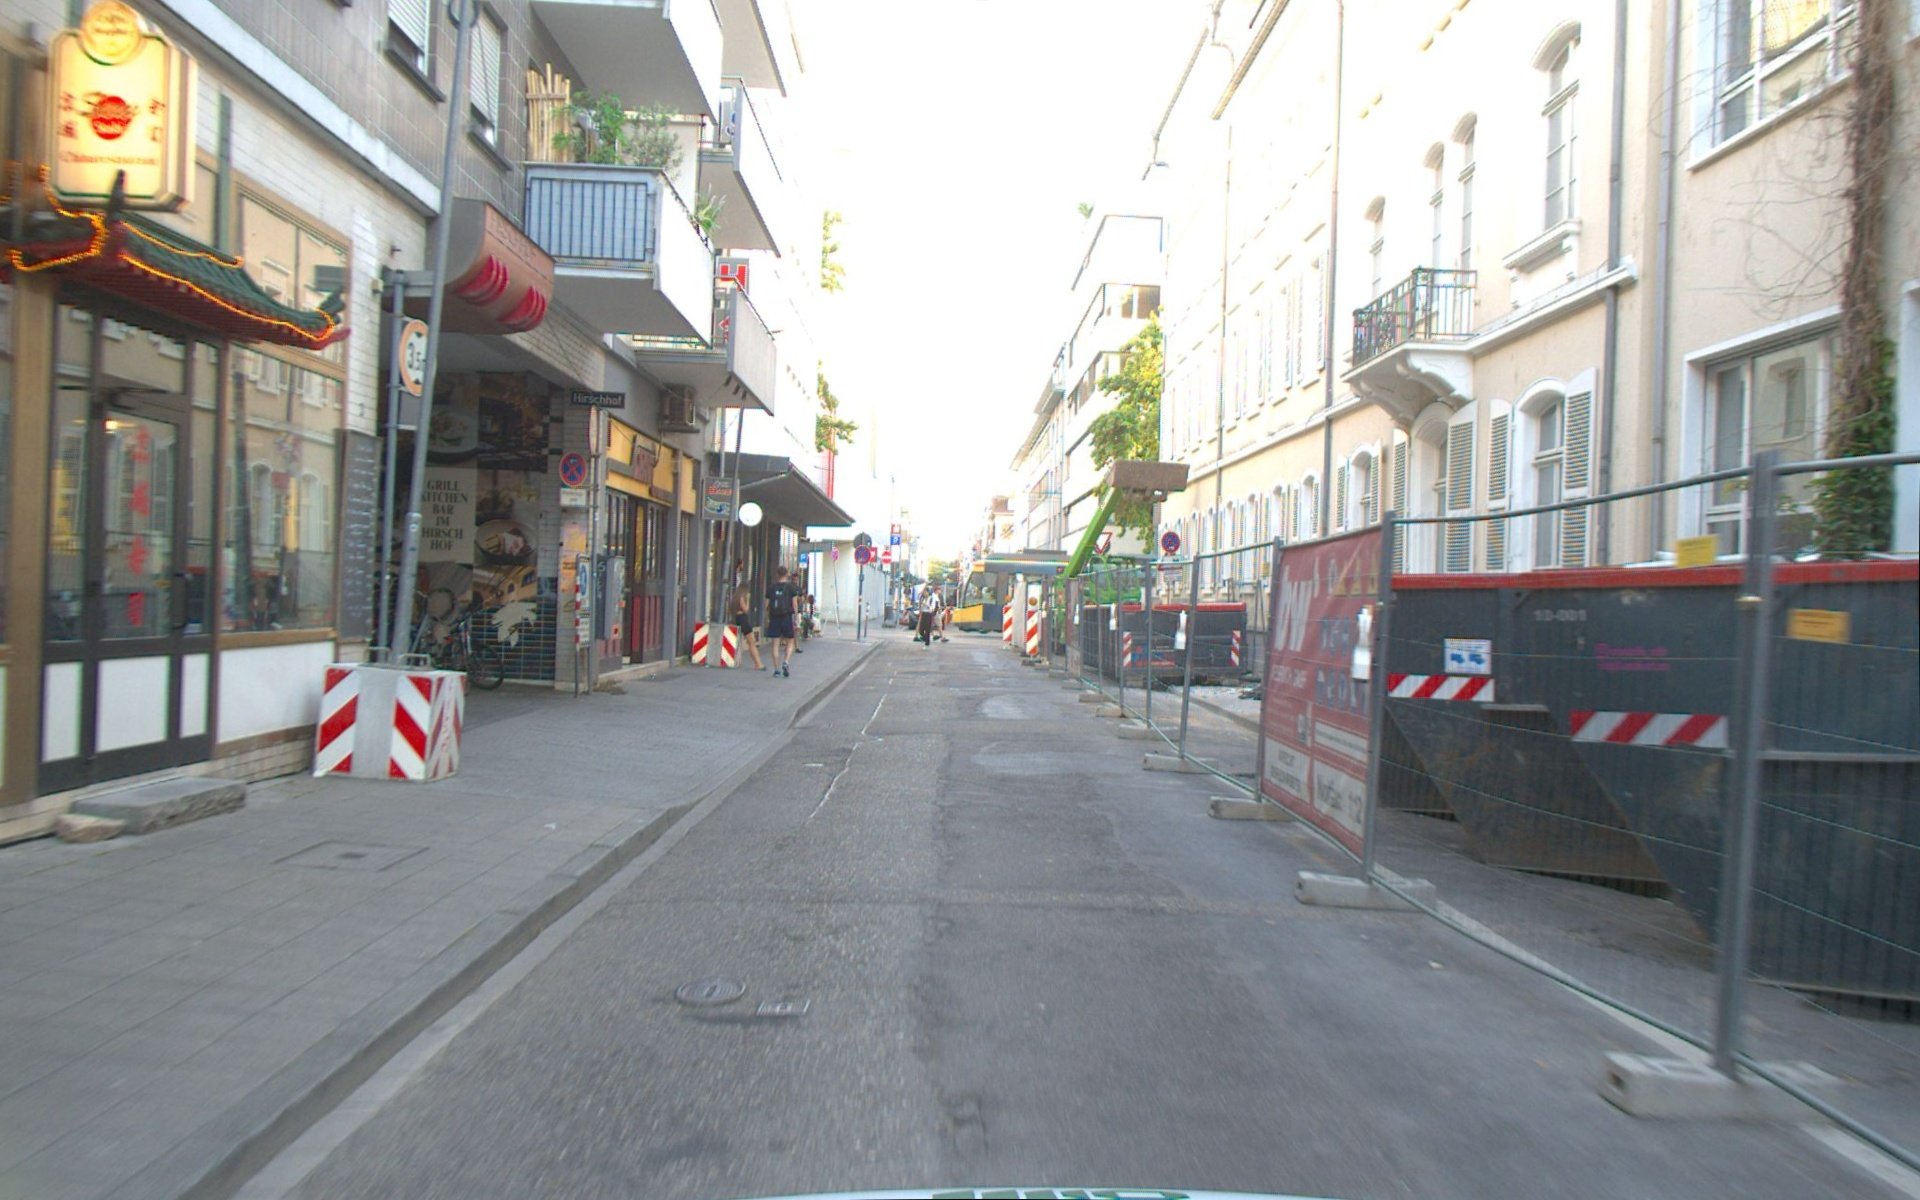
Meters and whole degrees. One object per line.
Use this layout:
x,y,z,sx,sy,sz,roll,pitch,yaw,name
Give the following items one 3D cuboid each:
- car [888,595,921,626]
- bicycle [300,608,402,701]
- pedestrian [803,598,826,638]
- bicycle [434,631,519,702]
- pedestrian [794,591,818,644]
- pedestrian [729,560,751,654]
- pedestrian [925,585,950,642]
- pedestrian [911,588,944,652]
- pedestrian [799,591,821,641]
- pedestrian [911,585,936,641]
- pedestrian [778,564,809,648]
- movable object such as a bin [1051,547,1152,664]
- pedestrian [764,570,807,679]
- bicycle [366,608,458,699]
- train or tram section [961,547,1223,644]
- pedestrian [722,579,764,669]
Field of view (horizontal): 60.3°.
-2.664,0.474,79.886,1.444,1.422,3.331,2,0,-1,car
-7.234,0.627,19.725,0.511,1.027,1.858,2,0,-1,bicycle
-4.415,0.545,50.228,0.605,1.192,0.787,2,0,-2,pedestrian
-5.803,0.783,19.915,0.511,0.774,1.747,2,0,-1,bicycle
-4.313,0.485,46.411,0.547,1.414,0.893,3,1,-1,pedestrian
-4.820,0.148,36.230,0.402,2.049,0.453,2,0,-3,pedestrian
-0.736,0.434,54.035,0.635,1.841,0.628,2,0,-17,pedestrian
-0.920,0.556,46.413,0.705,1.770,0.647,1,0,20,pedestrian
-4.293,0.460,47.431,0.531,1.412,0.625,2,0,0,pedestrian
-1.222,0.432,54.996,0.635,1.841,0.628,2,0,-17,pedestrian
-3.898,0.142,38.700,0.642,1.919,0.573,2,0,-9,pedestrian
4.085,0.115,48.611,2.420,3.185,4.297,3,1,-1,movable object such as a bin
-3.002,0.412,28.437,0.616,1.840,0.647,2,0,0,pedestrian
-6.554,0.621,19.866,0.511,1.027,1.747,2,0,-1,bicycle
5.238,-0.180,66.992,10.275,3.520,2.999,2,0,-2,train or tram section
-3.925,0.420,29.851,0.635,1.592,0.628,2,0,-16,pedestrian
